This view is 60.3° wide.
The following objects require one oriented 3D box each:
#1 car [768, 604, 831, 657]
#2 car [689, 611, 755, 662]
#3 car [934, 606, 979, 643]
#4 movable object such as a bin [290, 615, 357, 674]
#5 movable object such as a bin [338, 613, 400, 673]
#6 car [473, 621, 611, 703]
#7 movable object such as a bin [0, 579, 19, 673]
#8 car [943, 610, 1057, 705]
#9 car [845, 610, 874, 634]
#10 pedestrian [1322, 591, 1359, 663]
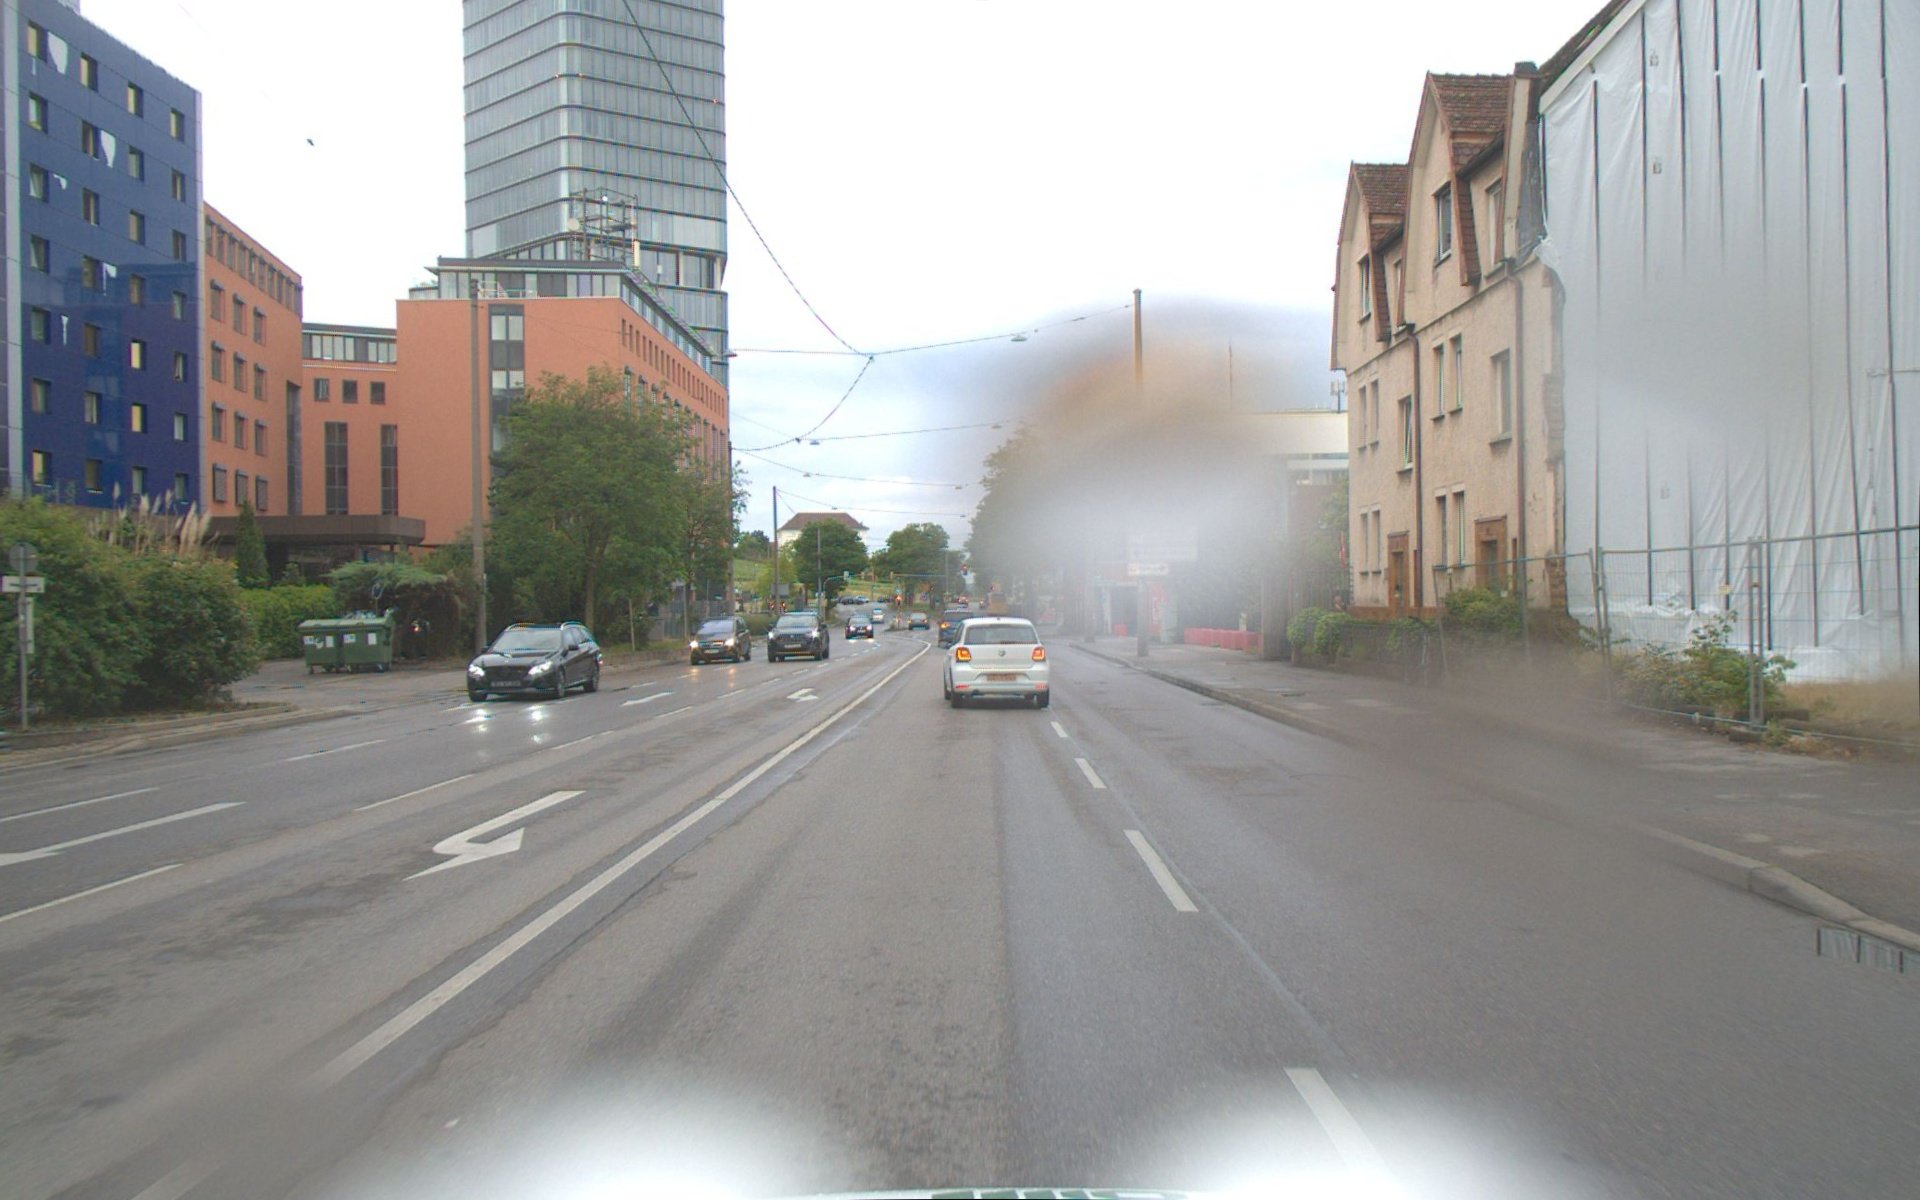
[{"bbox_3d":[-5.576,1.039,57.858,1.720,1.582,4.450,-3,1,0],"label":"car"},{"bbox_3d":[-8.492,1.286,59.258,1.673,1.593,4.034,-3,0,1],"label":"car"},{"bbox_3d":[-0.152,1.080,75.104,1.952,1.601,4.000,-1,0,0],"label":"car"},{"bbox_3d":[-17.400,1.206,45.208,1.360,1.517,0.952,-4,-2,11],"label":"movable object such as a bin"},{"bbox_3d":[-15.883,1.156,44.500,1.365,1.517,0.949,-3,-2,-9],"label":"movable object such as a bin"},{"bbox_3d":[-8.635,1.240,34.566,1.698,1.502,4.698,-2,0,-1],"label":"car"},{"bbox_3d":[-30.395,0.885,47.431,5.511,2.674,2.161,-3,-2,0],"label":"movable object such as a bin"},{"bbox_3d":[0.622,0.924,28.327,1.638,1.499,3.776,-1,0,-4],"label":"car"},{"bbox_3d":[-6.651,1.468,110.031,1.625,1.512,3.820,-1,0,0],"label":"car"},{"bbox_3d":[9.626,0.681,41.916,0.891,1.795,0.768,0,0,12],"label":"pedestrian"}]
